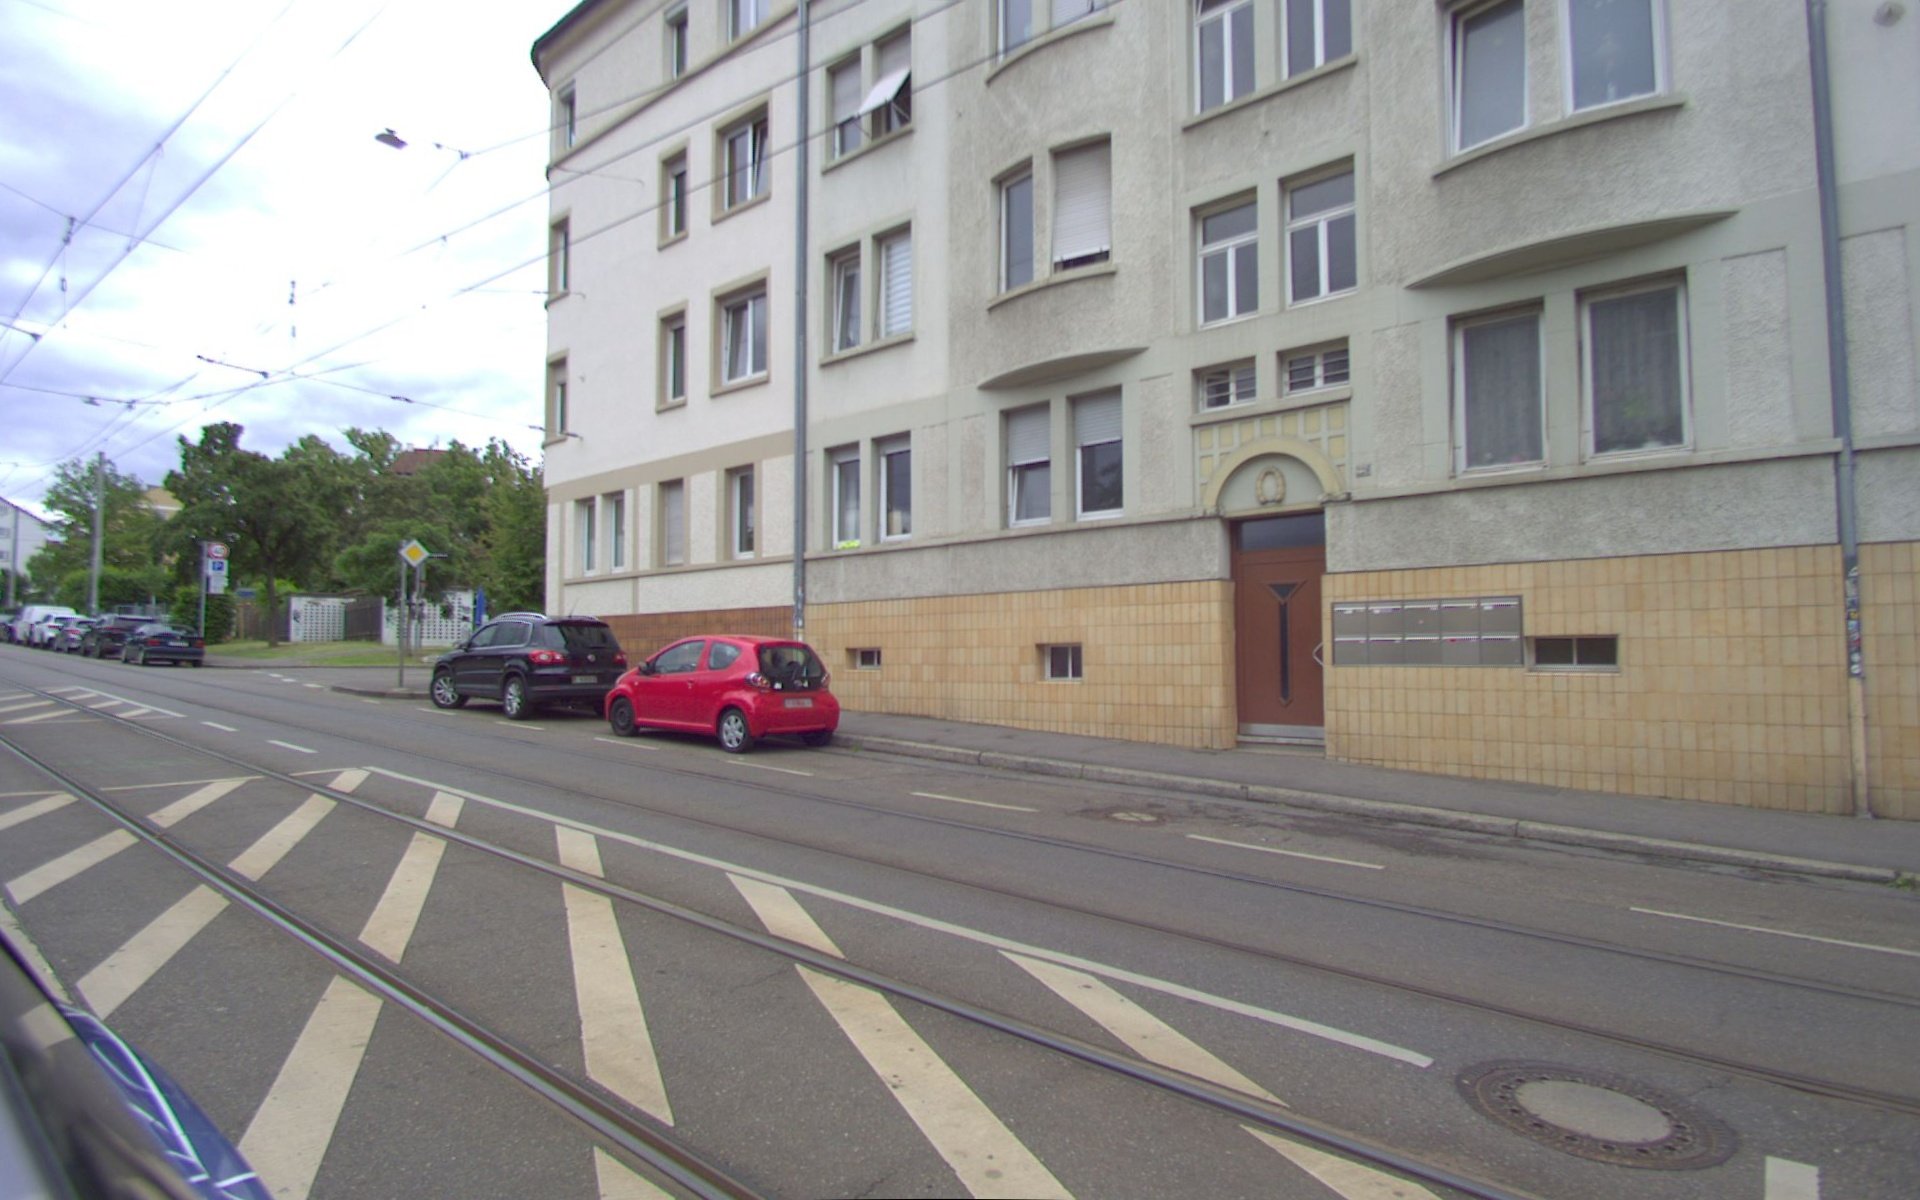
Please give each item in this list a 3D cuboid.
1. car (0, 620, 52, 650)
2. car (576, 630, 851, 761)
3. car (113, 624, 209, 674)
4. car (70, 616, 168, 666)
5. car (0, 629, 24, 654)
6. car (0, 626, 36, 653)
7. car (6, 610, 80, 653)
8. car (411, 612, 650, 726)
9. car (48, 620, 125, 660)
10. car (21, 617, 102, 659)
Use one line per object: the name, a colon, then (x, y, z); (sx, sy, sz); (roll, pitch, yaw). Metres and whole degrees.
car: (-48.921, 1.818, 52.612); (4.514, 1.397, 1.821); (0, -3, 40)
car: (-3.445, 1.220, 13.879); (3.739, 1.474, 1.606); (0, -3, 37)
car: (-26.663, 1.608, 33.731); (4.152, 1.489, 1.604); (0, -3, 40)
car: (-31.507, 1.503, 37.894); (4.440, 1.699, 1.949); (0, -3, 40)
car: (-58.201, 2.475, 61.195); (4.158, 1.415, 1.772); (0, -3, 40)
car: (-53.972, 2.196, 57.244); (4.436, 1.397, 1.821); (0, -3, 40)
car: (-44.851, 1.502, 49.465); (4.730, 1.927, 1.949); (0, -3, 40)
car: (-7.345, 1.090, 17.141); (4.398, 1.658, 1.849); (0, -3, 40)
car: (-36.272, 1.657, 41.981); (3.866, 1.520, 1.721); (0, -3, 40)
car: (-40.387, 1.691, 45.453); (4.629, 1.699, 1.949); (0, -3, 40)
